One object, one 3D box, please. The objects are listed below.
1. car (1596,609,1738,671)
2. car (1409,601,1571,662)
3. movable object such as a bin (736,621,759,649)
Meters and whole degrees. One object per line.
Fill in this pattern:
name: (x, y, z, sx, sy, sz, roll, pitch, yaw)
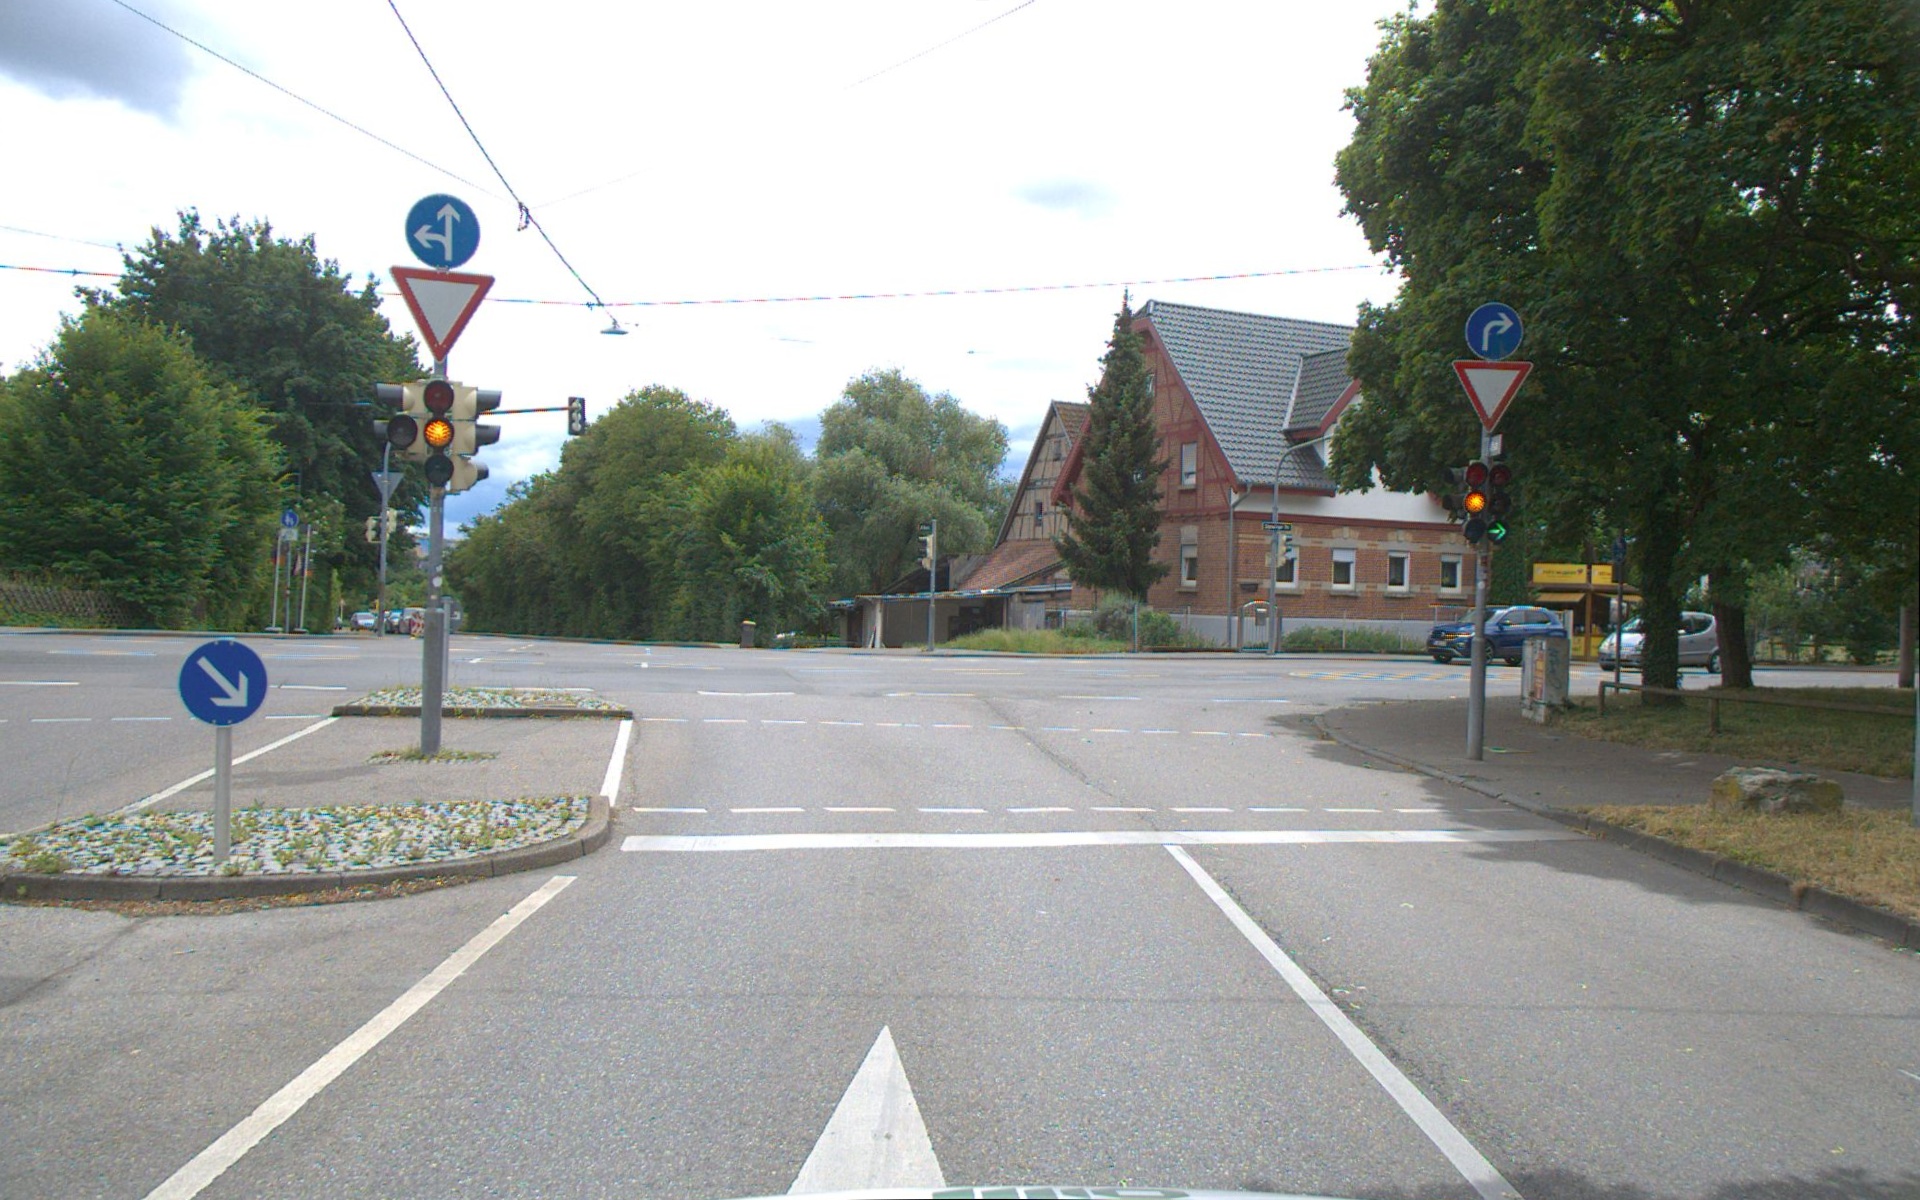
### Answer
car: (18.477, 1.037, 43.232, 3.512, 1.545, 1.761, 1, -1, -32)
car: (14.298, 0.847, 44.587, 3.937, 1.545, 1.912, 1, 0, -26)
movable object such as a bin: (-7.308, 1.204, 56.972, 0.579, 0.922, 0.603, 1, 0, 15)
